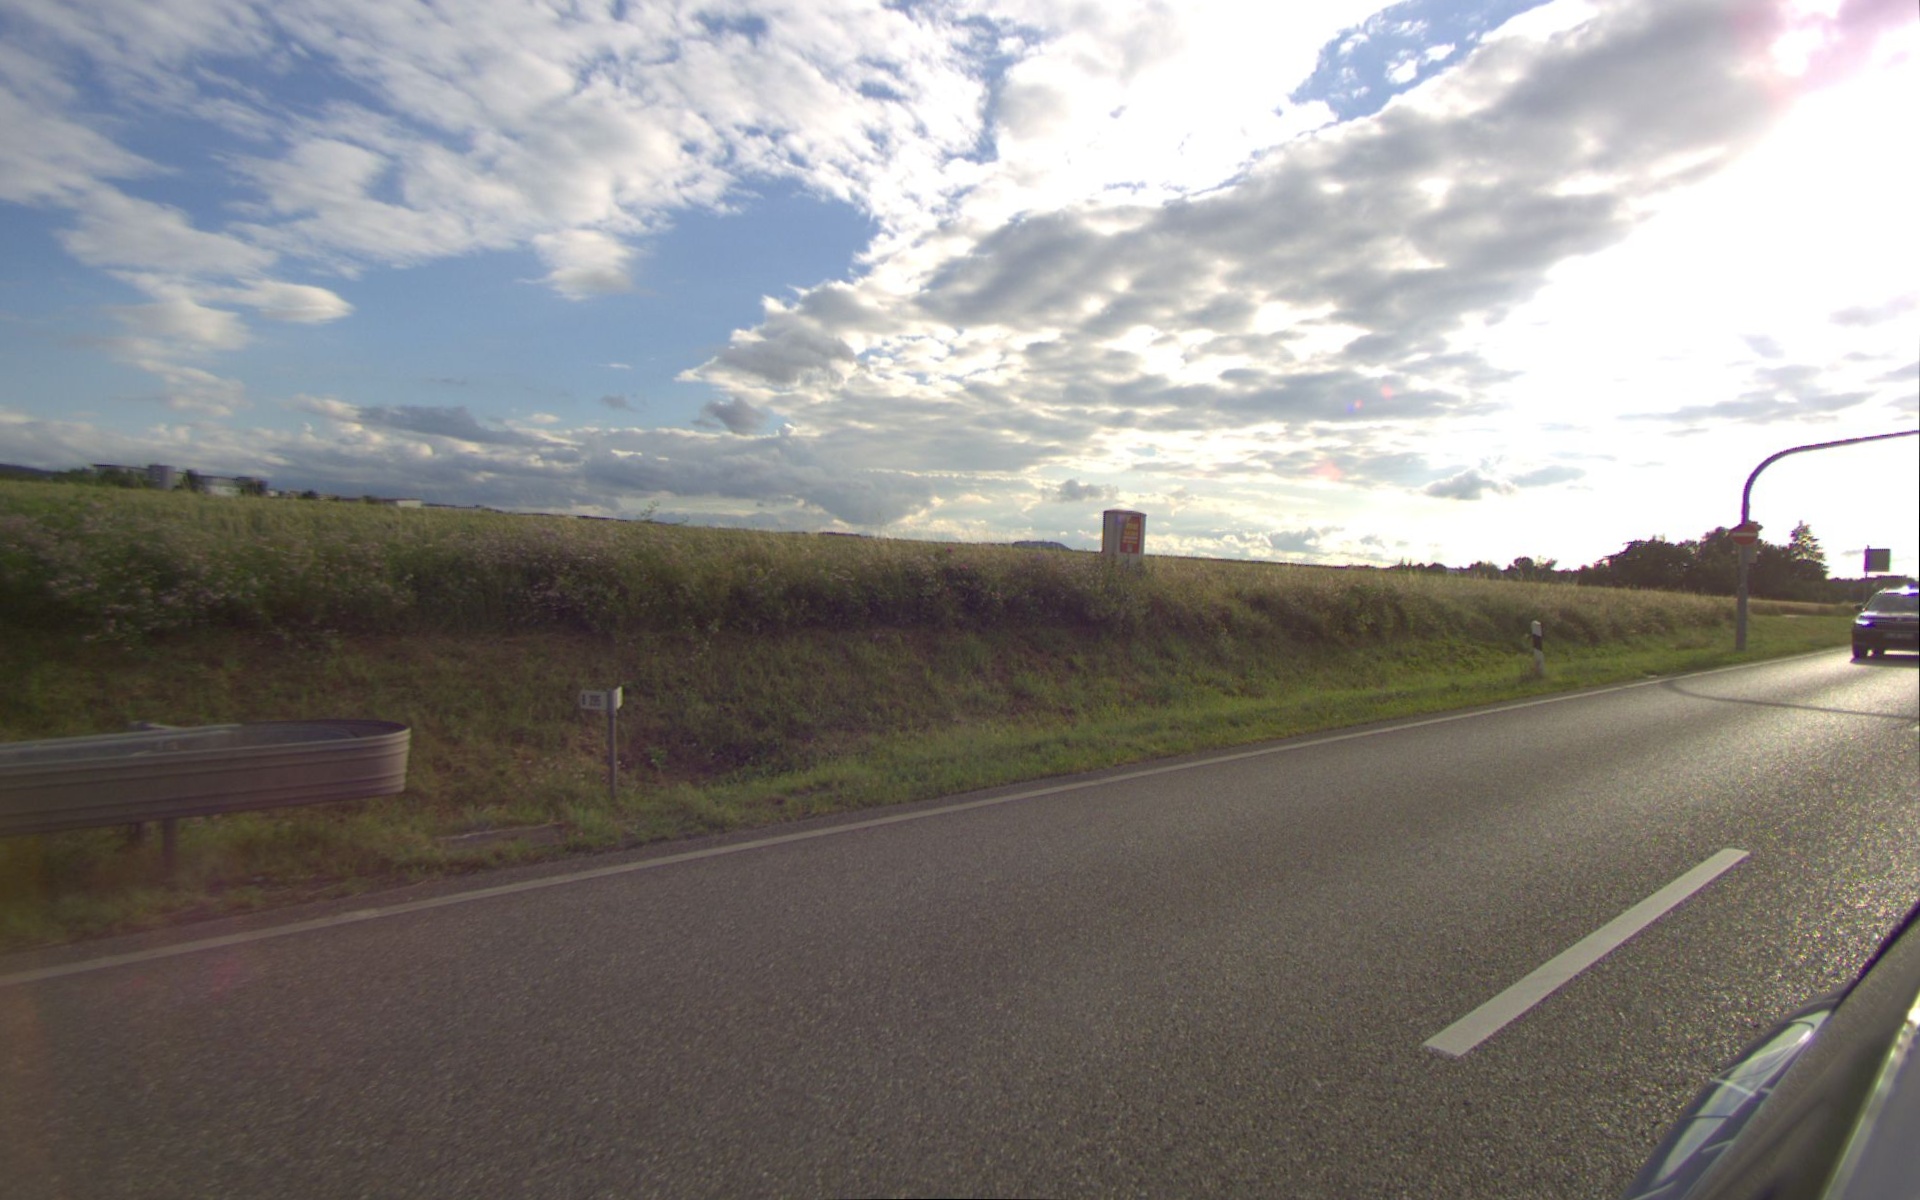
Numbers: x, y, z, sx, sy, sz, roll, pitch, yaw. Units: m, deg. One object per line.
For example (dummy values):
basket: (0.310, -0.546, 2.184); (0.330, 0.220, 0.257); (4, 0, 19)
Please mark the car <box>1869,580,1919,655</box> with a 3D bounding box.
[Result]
car: (23.409, 0.407, 24.400); (4.342, 1.689, 1.722); (0, 0, -41)
